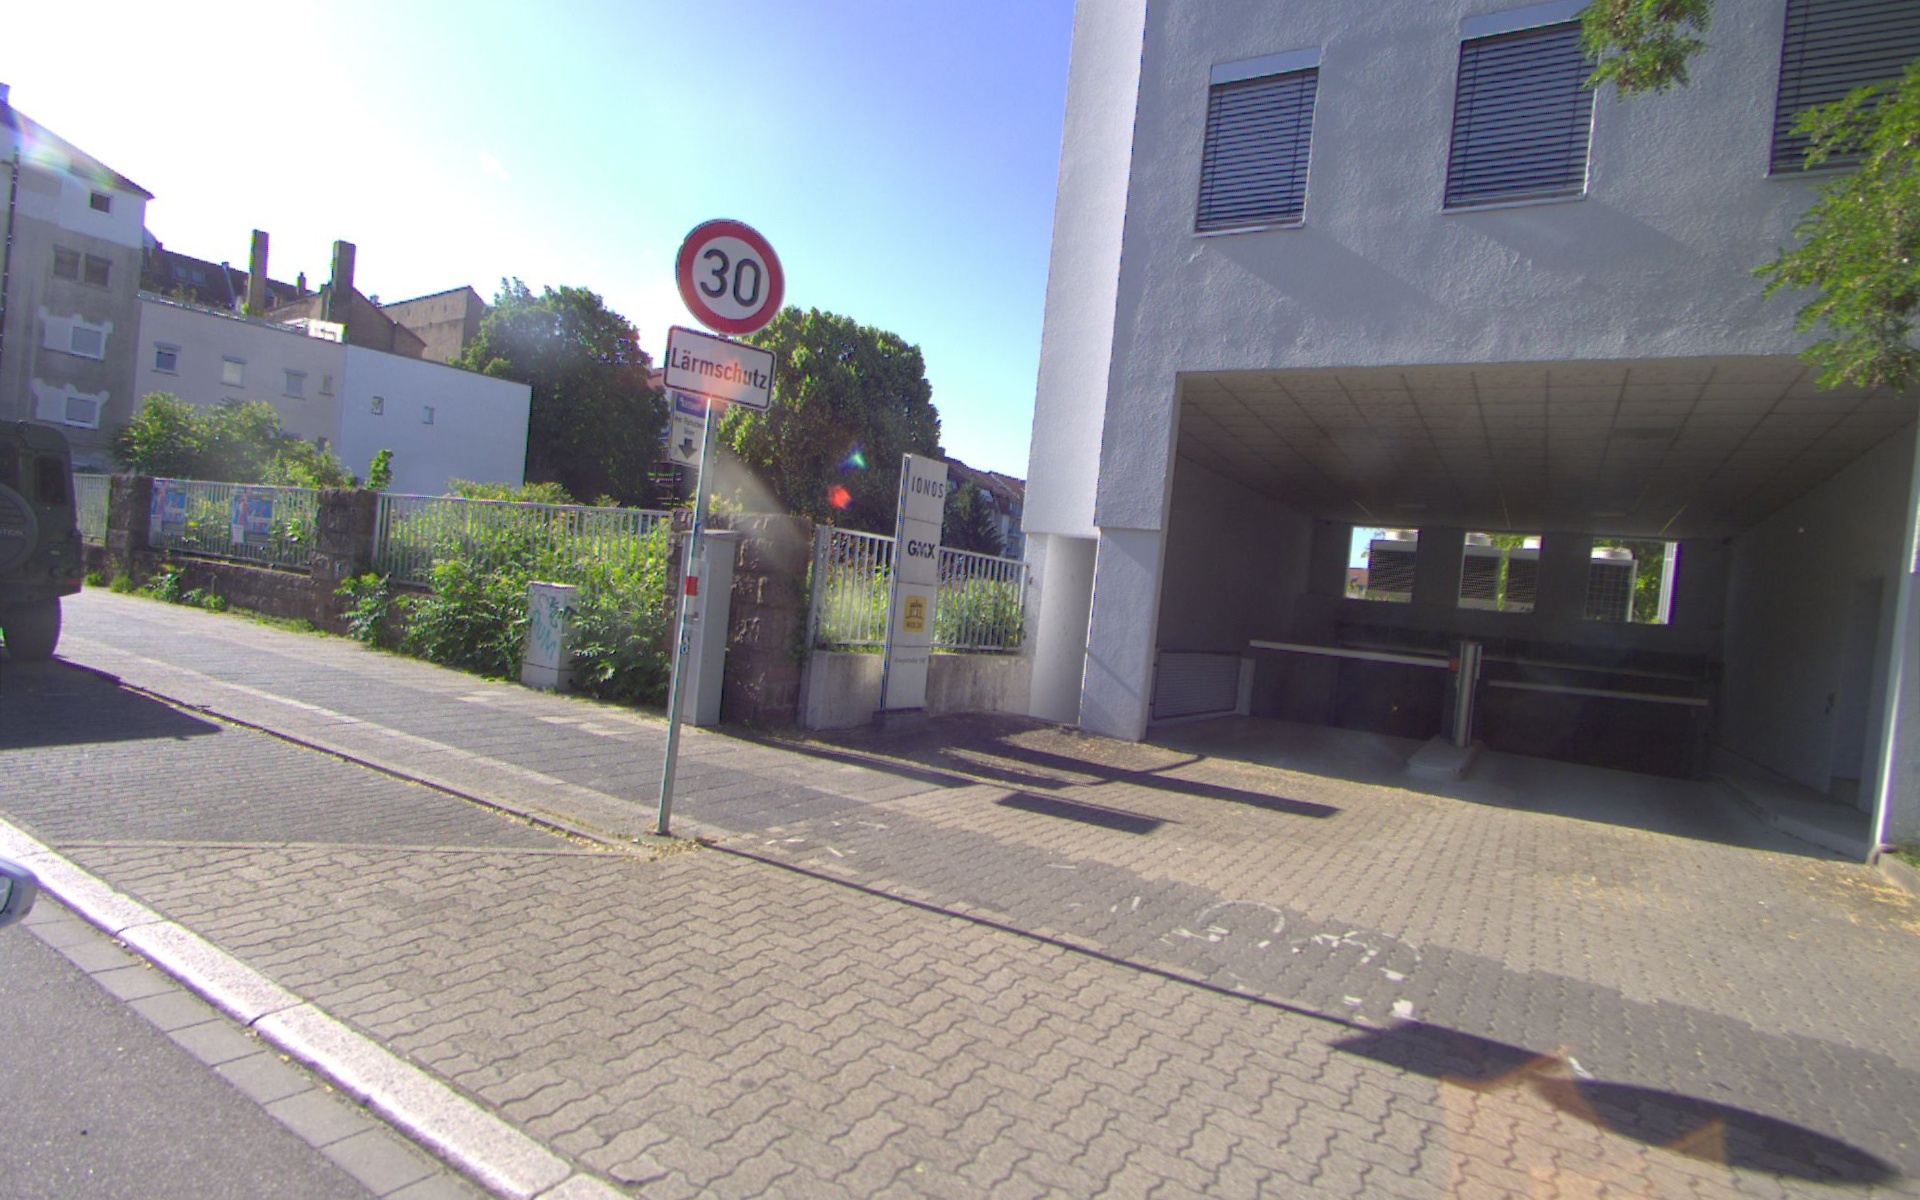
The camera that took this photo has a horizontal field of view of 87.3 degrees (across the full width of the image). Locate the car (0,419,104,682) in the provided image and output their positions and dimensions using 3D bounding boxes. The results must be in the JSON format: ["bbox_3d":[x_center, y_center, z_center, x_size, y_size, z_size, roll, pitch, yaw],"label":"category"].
[{"bbox_3d":[-9.561,-0.575,8.865,4.697,2.040,1.661,5,1,32],"label":"car"}]
